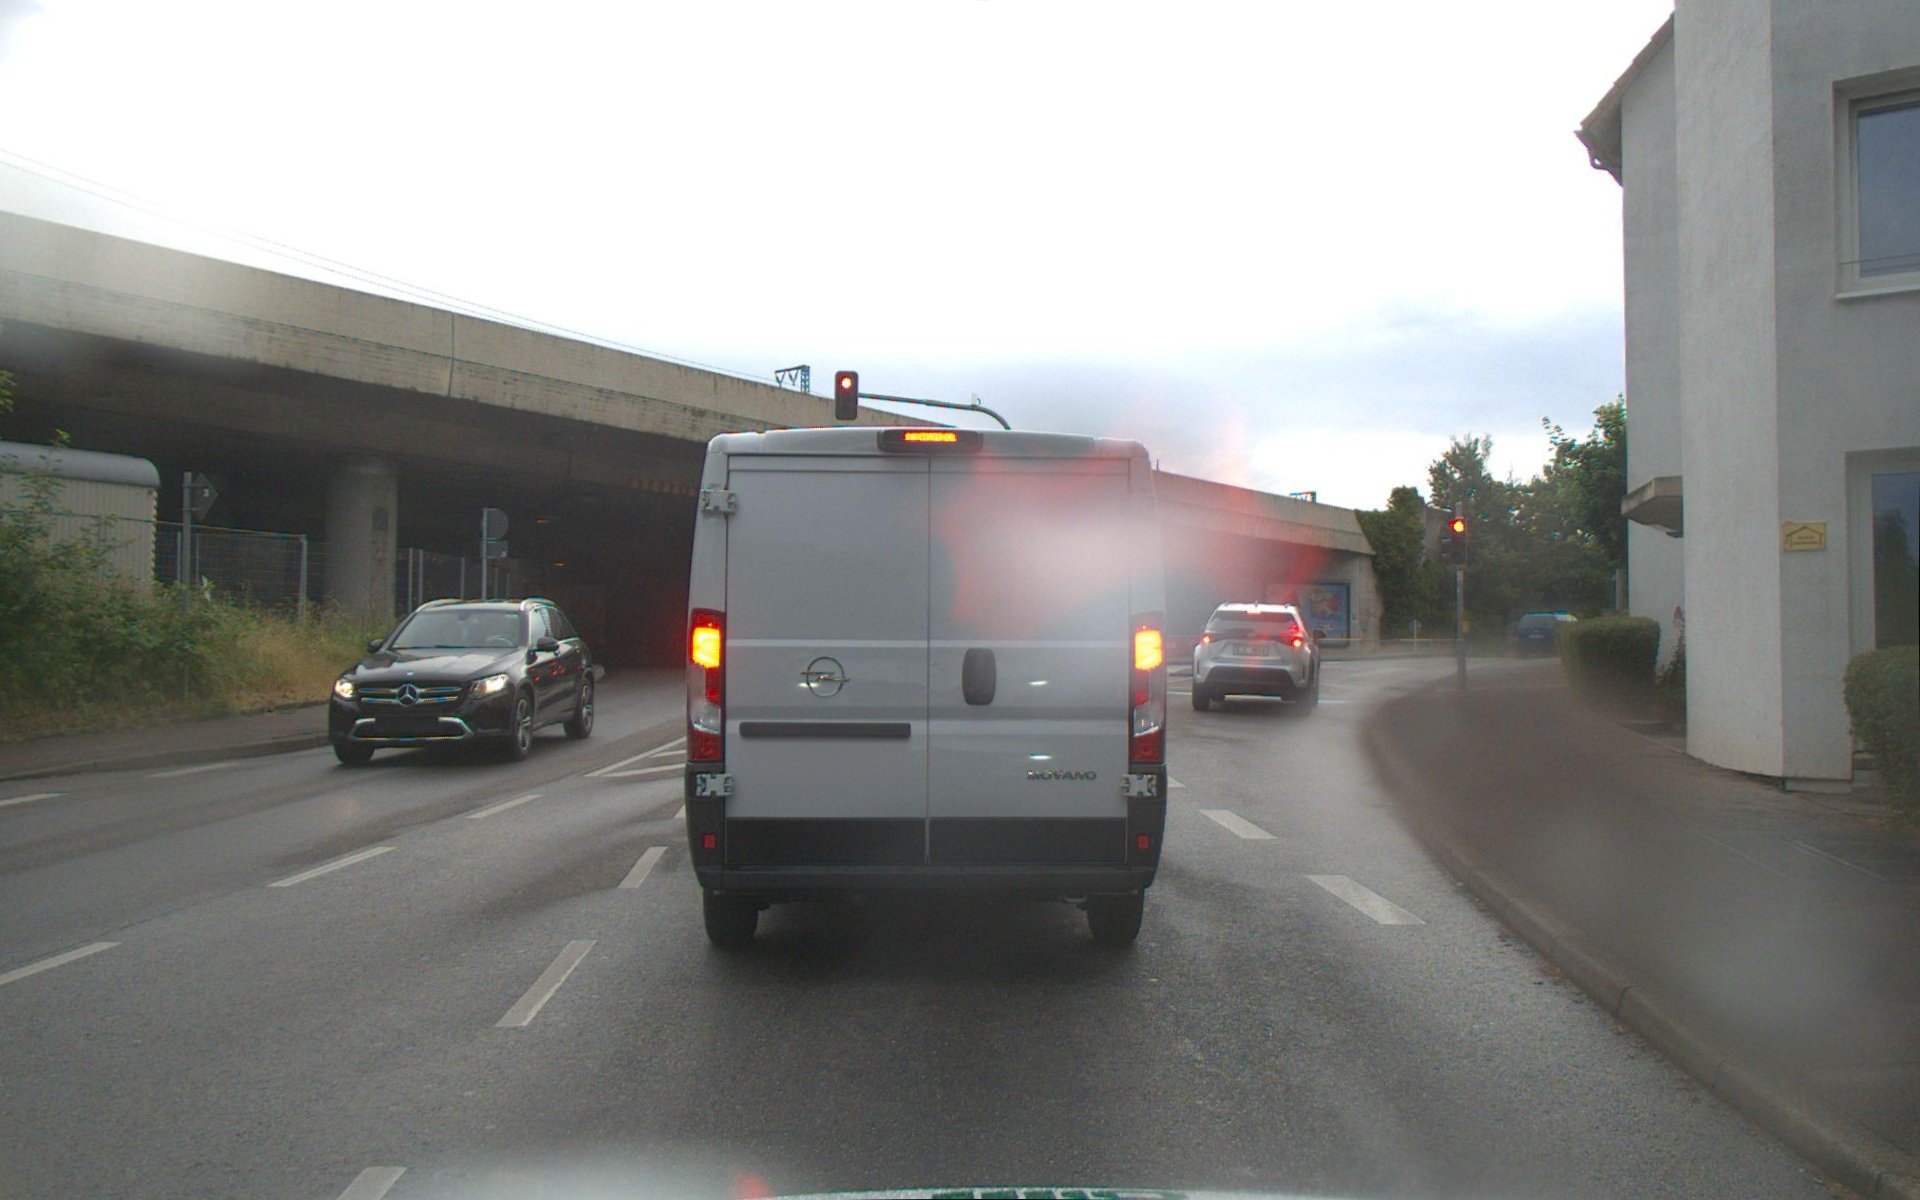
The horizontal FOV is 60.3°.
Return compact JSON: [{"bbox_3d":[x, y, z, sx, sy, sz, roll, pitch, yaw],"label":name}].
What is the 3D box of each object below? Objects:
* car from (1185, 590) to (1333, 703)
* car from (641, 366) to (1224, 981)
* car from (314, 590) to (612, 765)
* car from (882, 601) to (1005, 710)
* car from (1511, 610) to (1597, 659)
[{"bbox_3d":[4.649,0.700,25.278,1.951,1.576,4.003,0,-2,14],"label":"car"},{"bbox_3d":[-0.136,0.314,9.105,2.258,2.384,5.281,0,-1,-1],"label":"car"},{"bbox_3d":[-5.186,0.748,17.918,1.875,1.655,4.434,0,0,0],"label":"car"},{"bbox_3d":[-0.212,0.948,28.754,1.952,1.759,4.000,0,-2,2],"label":"car"},{"bbox_3d":[19.446,1.139,54.041,1.956,1.545,3.991,-1,-2,30],"label":"car"}]
